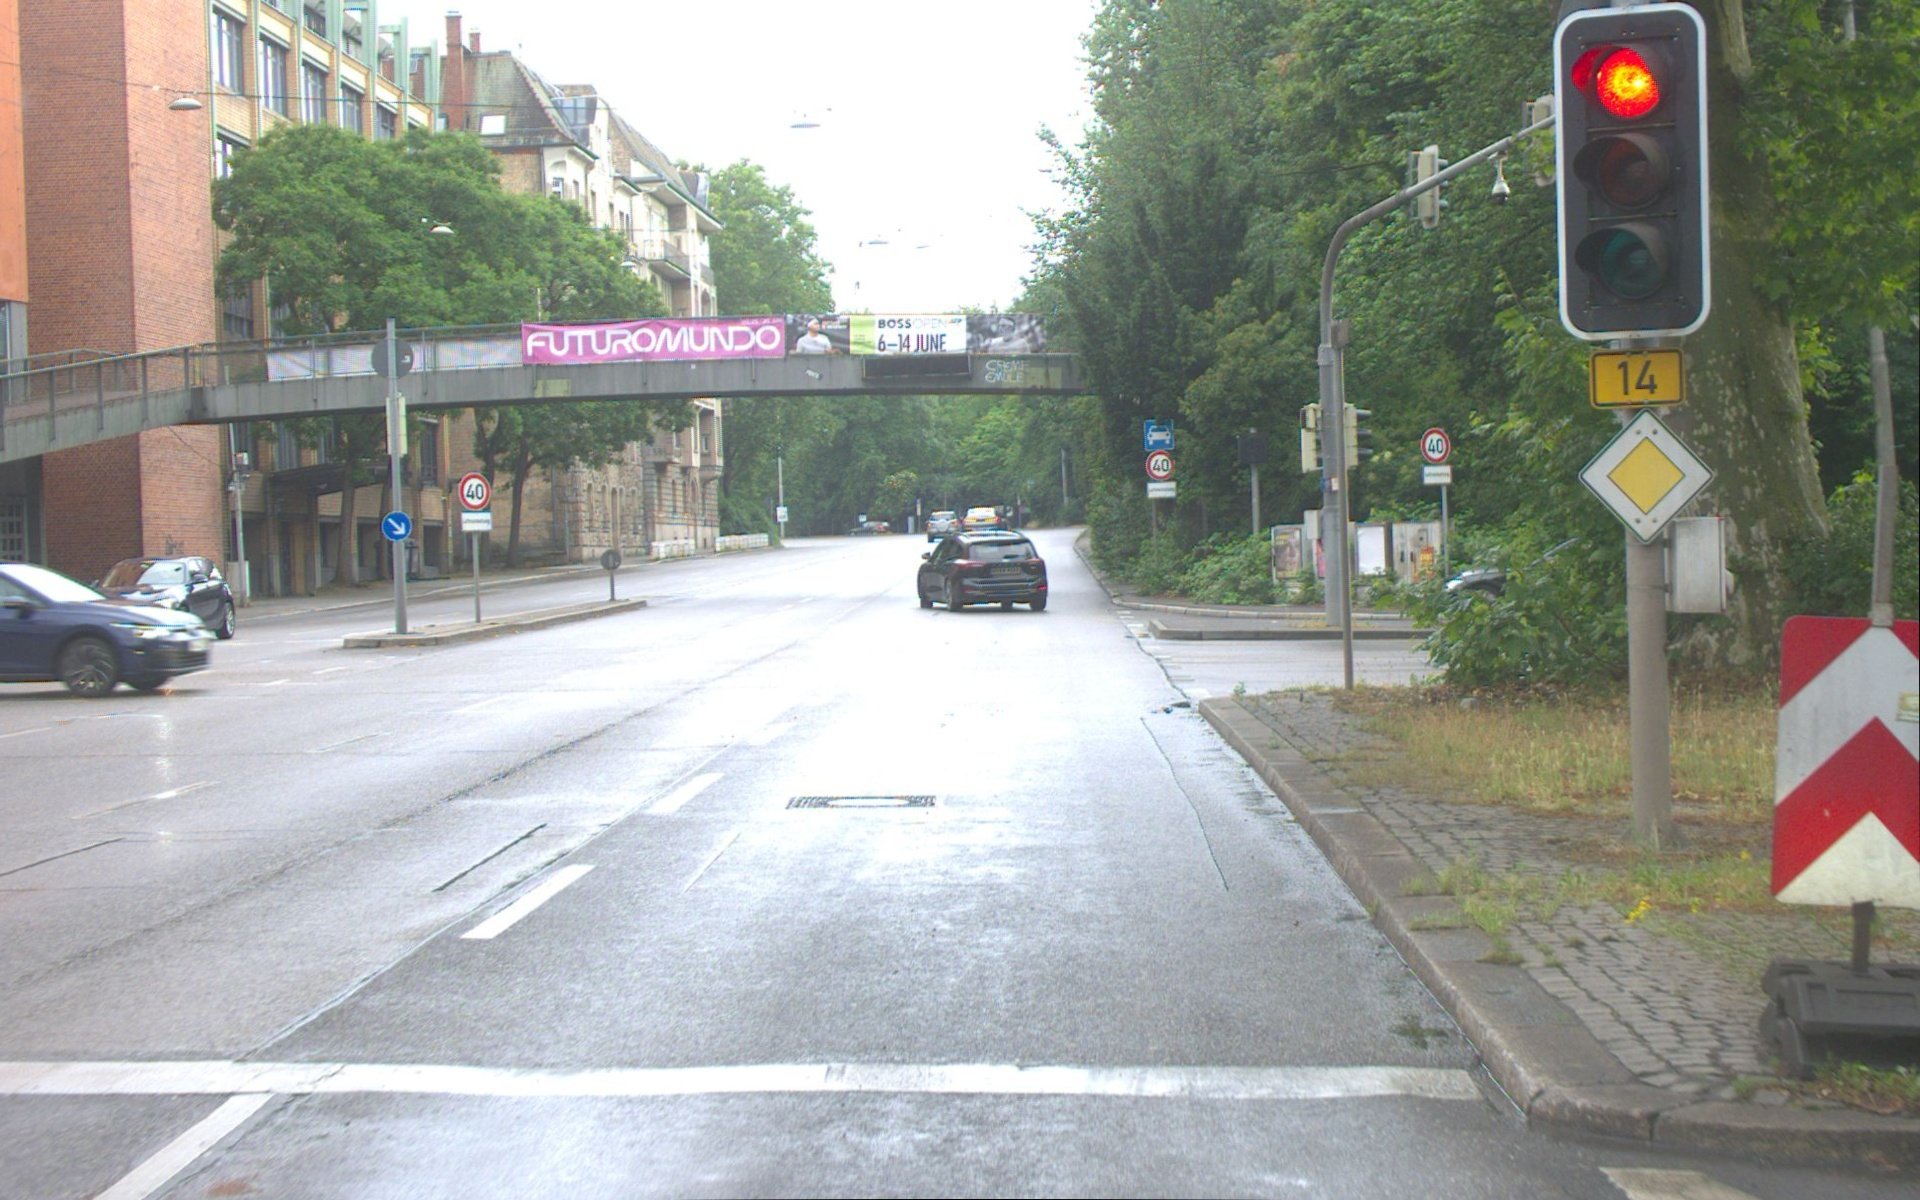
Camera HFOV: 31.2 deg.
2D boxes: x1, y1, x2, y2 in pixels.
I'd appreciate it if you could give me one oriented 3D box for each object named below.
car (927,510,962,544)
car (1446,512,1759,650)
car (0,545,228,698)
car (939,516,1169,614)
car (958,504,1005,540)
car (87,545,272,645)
[{"bbox_3d":[-0.828,-3.905,184.778,1.763,1.691,3.706,-3,1,0],"label":"car"},{"bbox_3d":[9.784,-0.298,52.271,4.342,1.829,2.134,-3,1,18],"label":"car"},{"bbox_3d":[-9.918,0.268,35.792,4.137,1.441,1.584,-3,1,10],"label":"car"},{"bbox_3d":[1.607,-0.639,60.475,1.875,1.632,4.525,-1,2,-31],"label":"car"},{"bbox_3d":[1.039,-3.794,166.729,2.120,1.729,4.199,0,2,-2],"label":"car"},{"bbox_3d":[-12.571,-0.109,55.622,1.993,1.514,4.000,-2,1,1],"label":"car"}]
